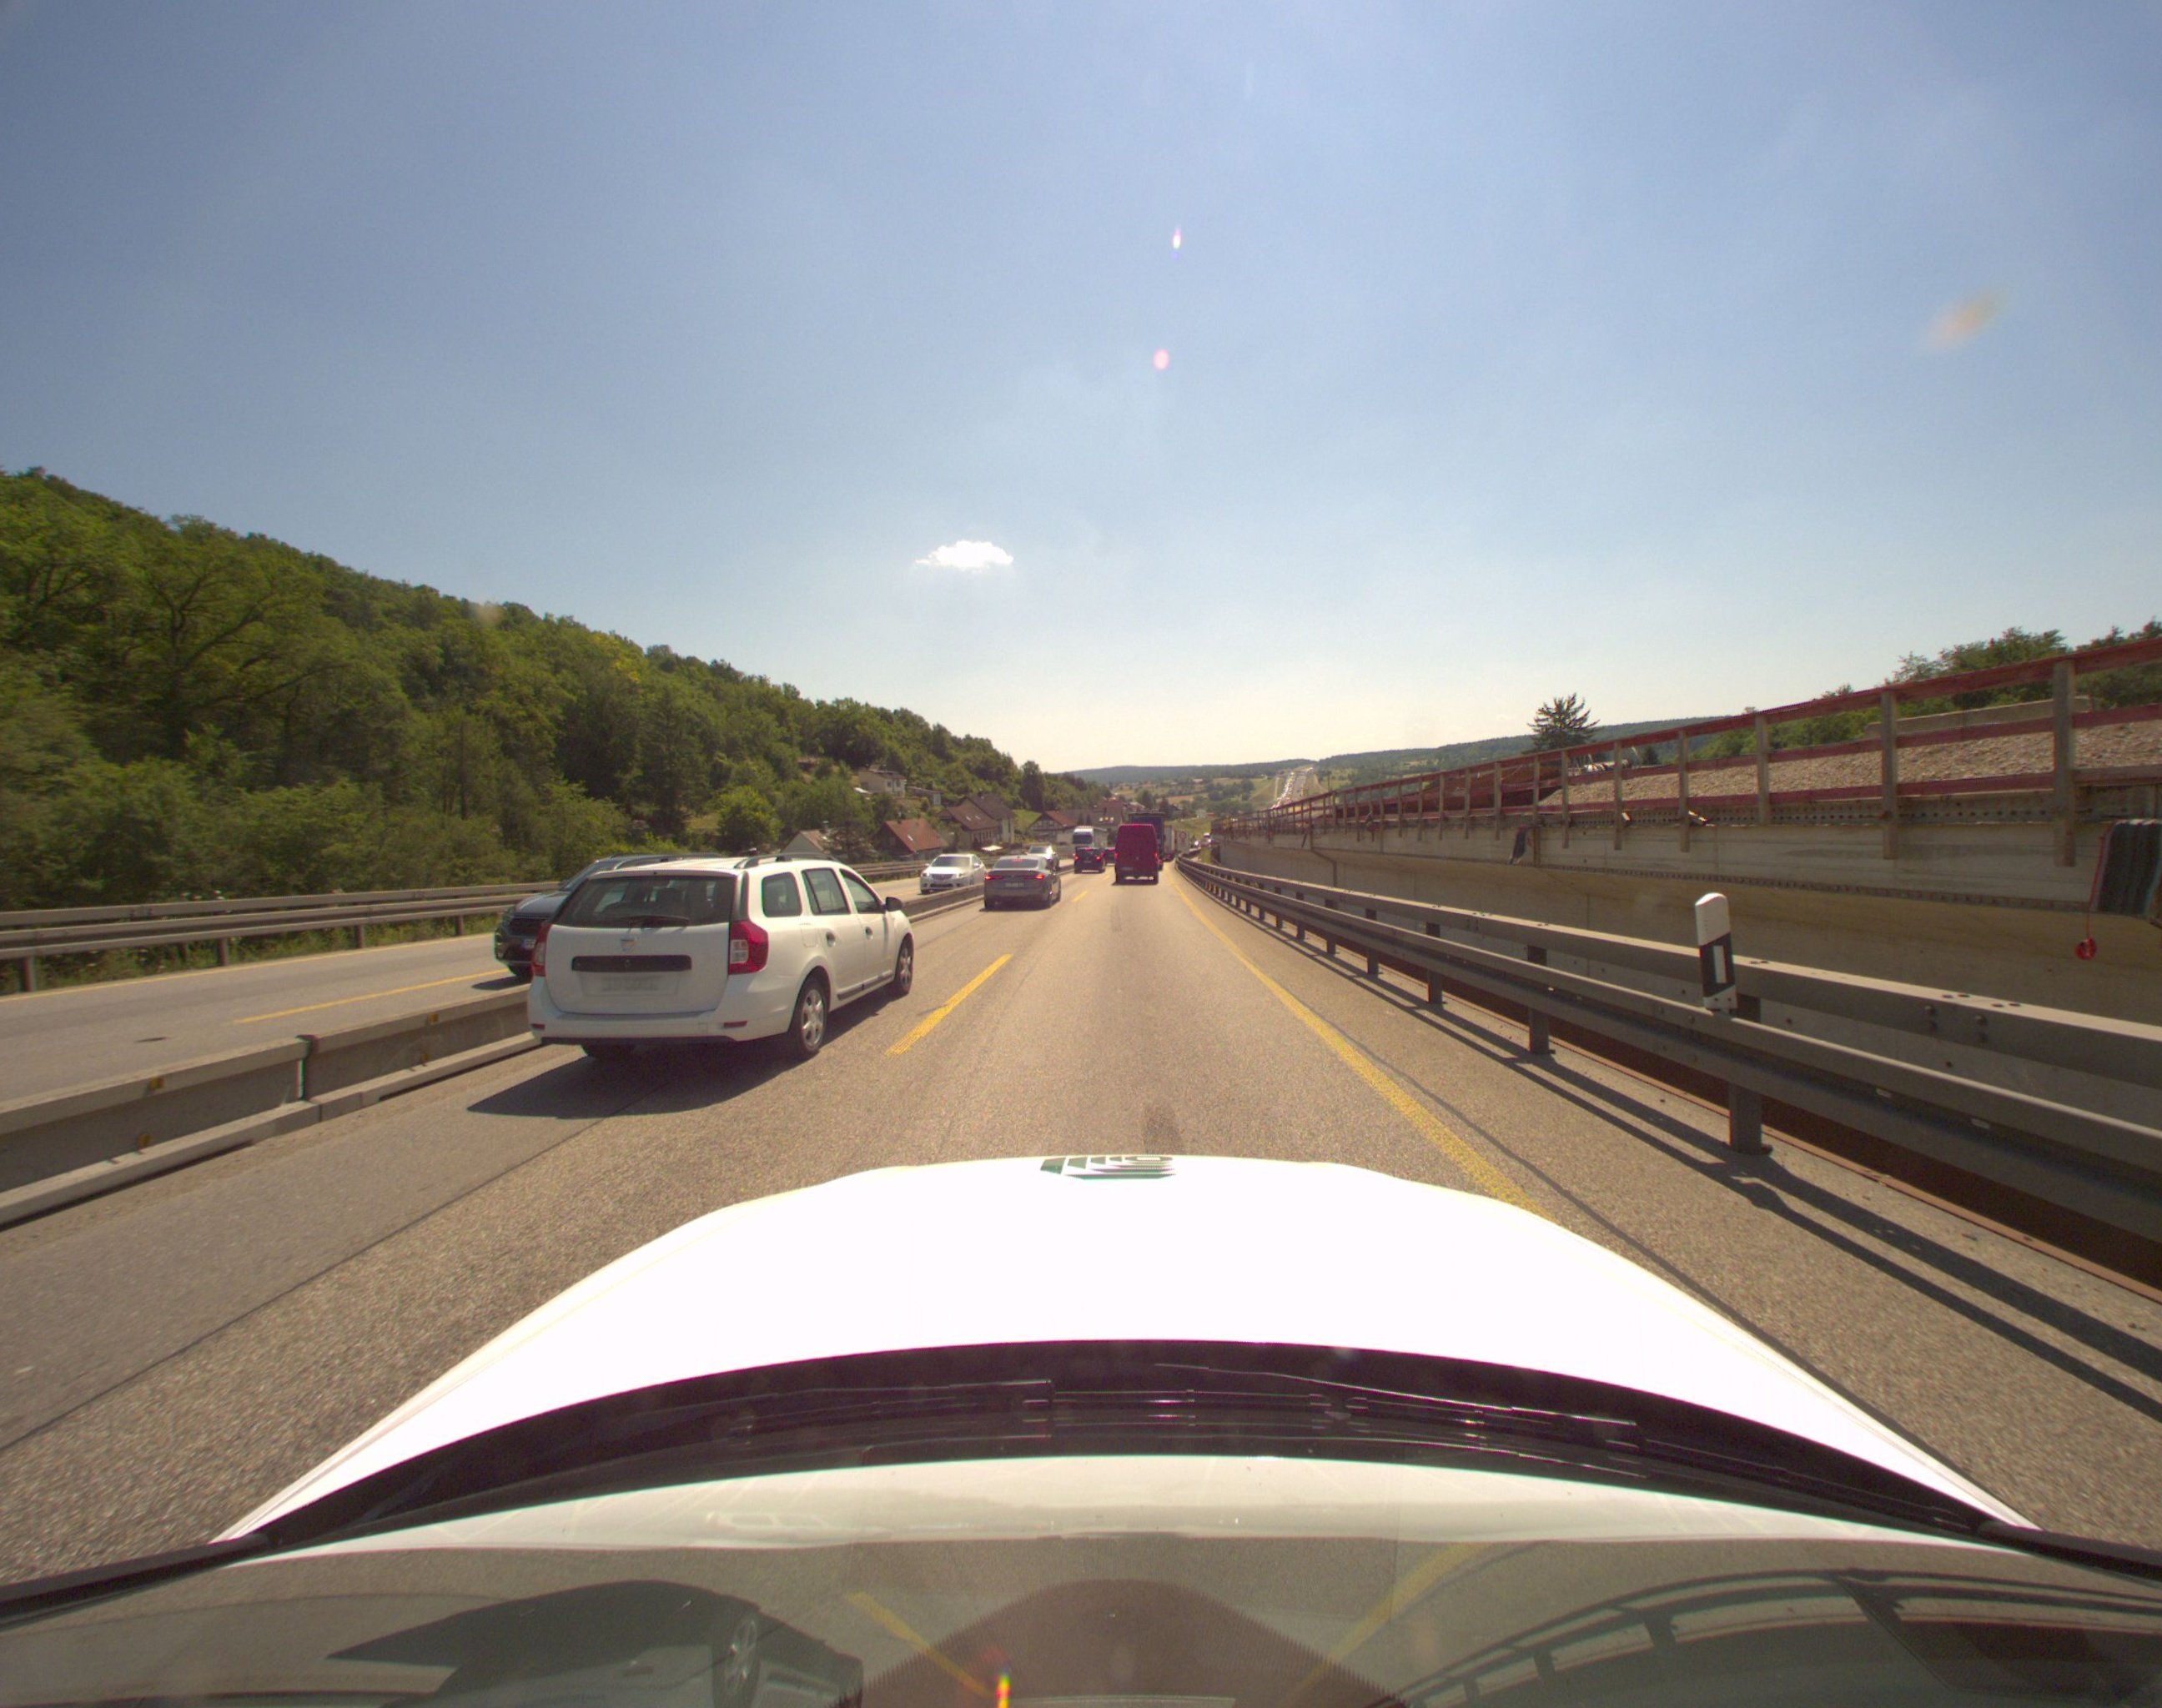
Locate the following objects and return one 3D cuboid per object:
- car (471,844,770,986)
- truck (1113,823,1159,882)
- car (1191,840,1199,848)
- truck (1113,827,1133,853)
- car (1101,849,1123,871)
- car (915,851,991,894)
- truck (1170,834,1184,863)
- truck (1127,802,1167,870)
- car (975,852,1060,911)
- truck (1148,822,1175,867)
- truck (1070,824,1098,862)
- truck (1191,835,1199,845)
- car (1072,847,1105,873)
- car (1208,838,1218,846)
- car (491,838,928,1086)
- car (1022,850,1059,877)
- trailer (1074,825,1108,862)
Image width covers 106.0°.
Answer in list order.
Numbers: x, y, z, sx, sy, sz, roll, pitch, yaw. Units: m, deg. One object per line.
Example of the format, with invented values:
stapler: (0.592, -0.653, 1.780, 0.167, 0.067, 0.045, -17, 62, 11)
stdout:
car: (-6.092, 0.699, 11.410, 1.731, 1.641, 4.004, 0, 0, 3)
truck: (2.563, -0.040, 37.580, 1.984, 2.578, 4.005, 0, -1, 5)
car: (29.330, -2.670, 209.418, 1.790, 2.013, 4.016, 1, 0, 14)
truck: (7.568, -2.412, 146.272, 2.829, 4.580, 5.802, 0, -1, 9)
car: (2.749, 0.542, 71.576, 1.720, 1.838, 4.007, 0, -1, 6)
car: (-4.752, 0.643, 30.853, 1.903, 1.486, 4.482, 0, 0, 4)
truck: (14.540, -0.831, 123.179, 1.983, 4.381, 4.008, 0, -1, 7)
truck: (5.000, -1.229, 62.268, 2.774, 4.816, 9.695, 0, -1, 4)
car: (-1.676, 0.692, 22.829, 1.787, 1.485, 4.054, -1, 0, 4)
truck: (8.999, -0.960, 92.069, 2.774, 4.816, 9.695, 0, -1, 4)
truck: (0.448, -1.357, 104.788, 3.044, 4.821, 4.654, 0, -1, 7)
truck: (18.222, -2.280, 130.195, 1.307, 1.542, 3.158, 0, -1, 8)
car: (0.542, 0.408, 52.433, 1.801, 1.608, 3.724, 0, -1, 5)
car: (36.081, -3.277, 222.737, 2.116, 2.014, 4.016, 0, -1, 15)
car: (-2.729, 0.691, 7.208, 1.644, 1.483, 4.270, -2, -1, 3)
car: (-2.642, 0.584, 54.281, 1.903, 1.705, 4.741, 0, 0, 4)
trailer: (1.563, -1.266, 112.297, 3.048, 4.815, 14.030, 0, -1, 7)
